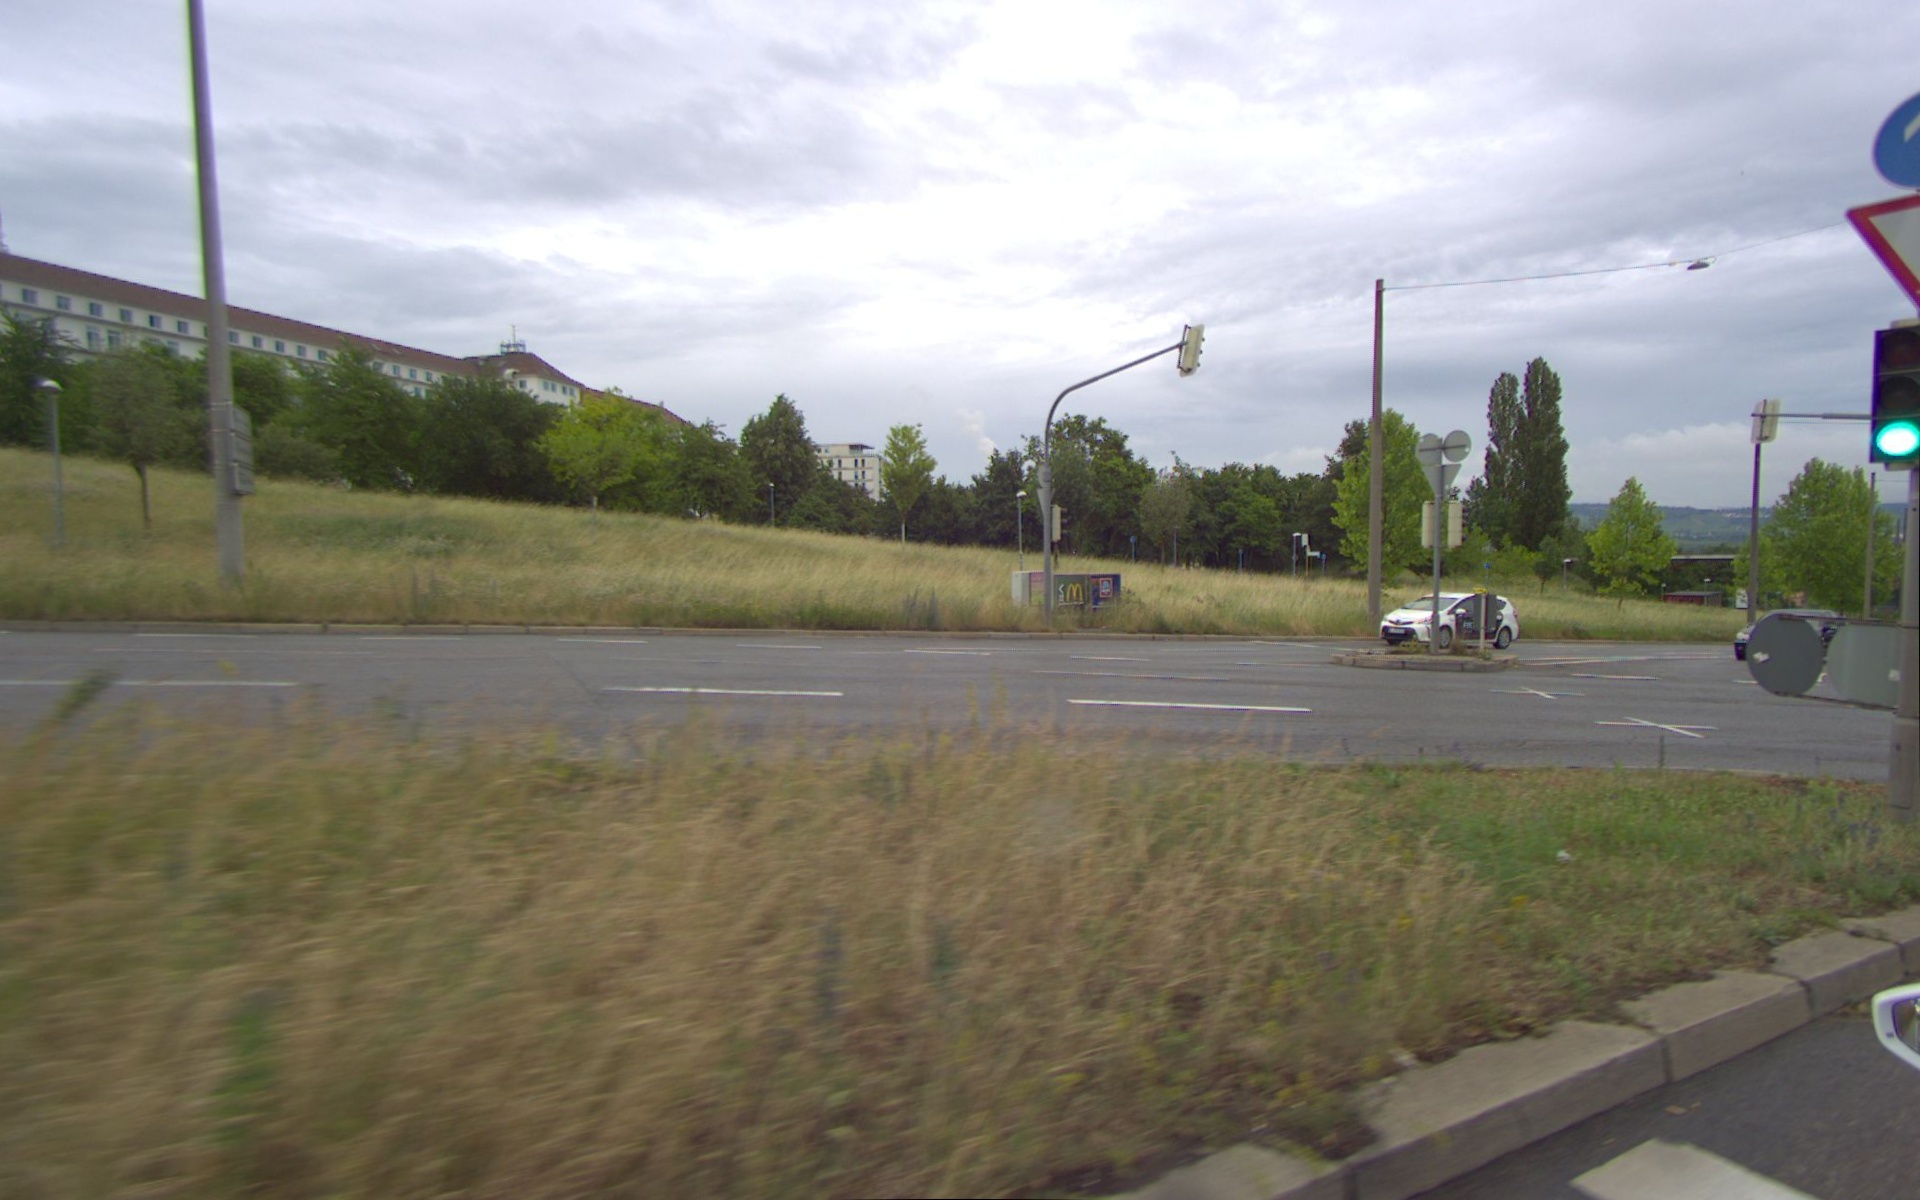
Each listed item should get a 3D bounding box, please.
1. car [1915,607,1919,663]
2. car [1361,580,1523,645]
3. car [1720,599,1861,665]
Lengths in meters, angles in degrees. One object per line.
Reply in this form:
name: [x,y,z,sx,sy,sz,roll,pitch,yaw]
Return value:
car: [26.078,0.987,25.610,3.960,1.391,1.726,3,1,-35]
car: [14.035,0.373,29.200,4.620,1.632,1.877,3,1,-29]
car: [22.420,0.887,27.087,3.960,1.557,1.883,3,1,-34]
